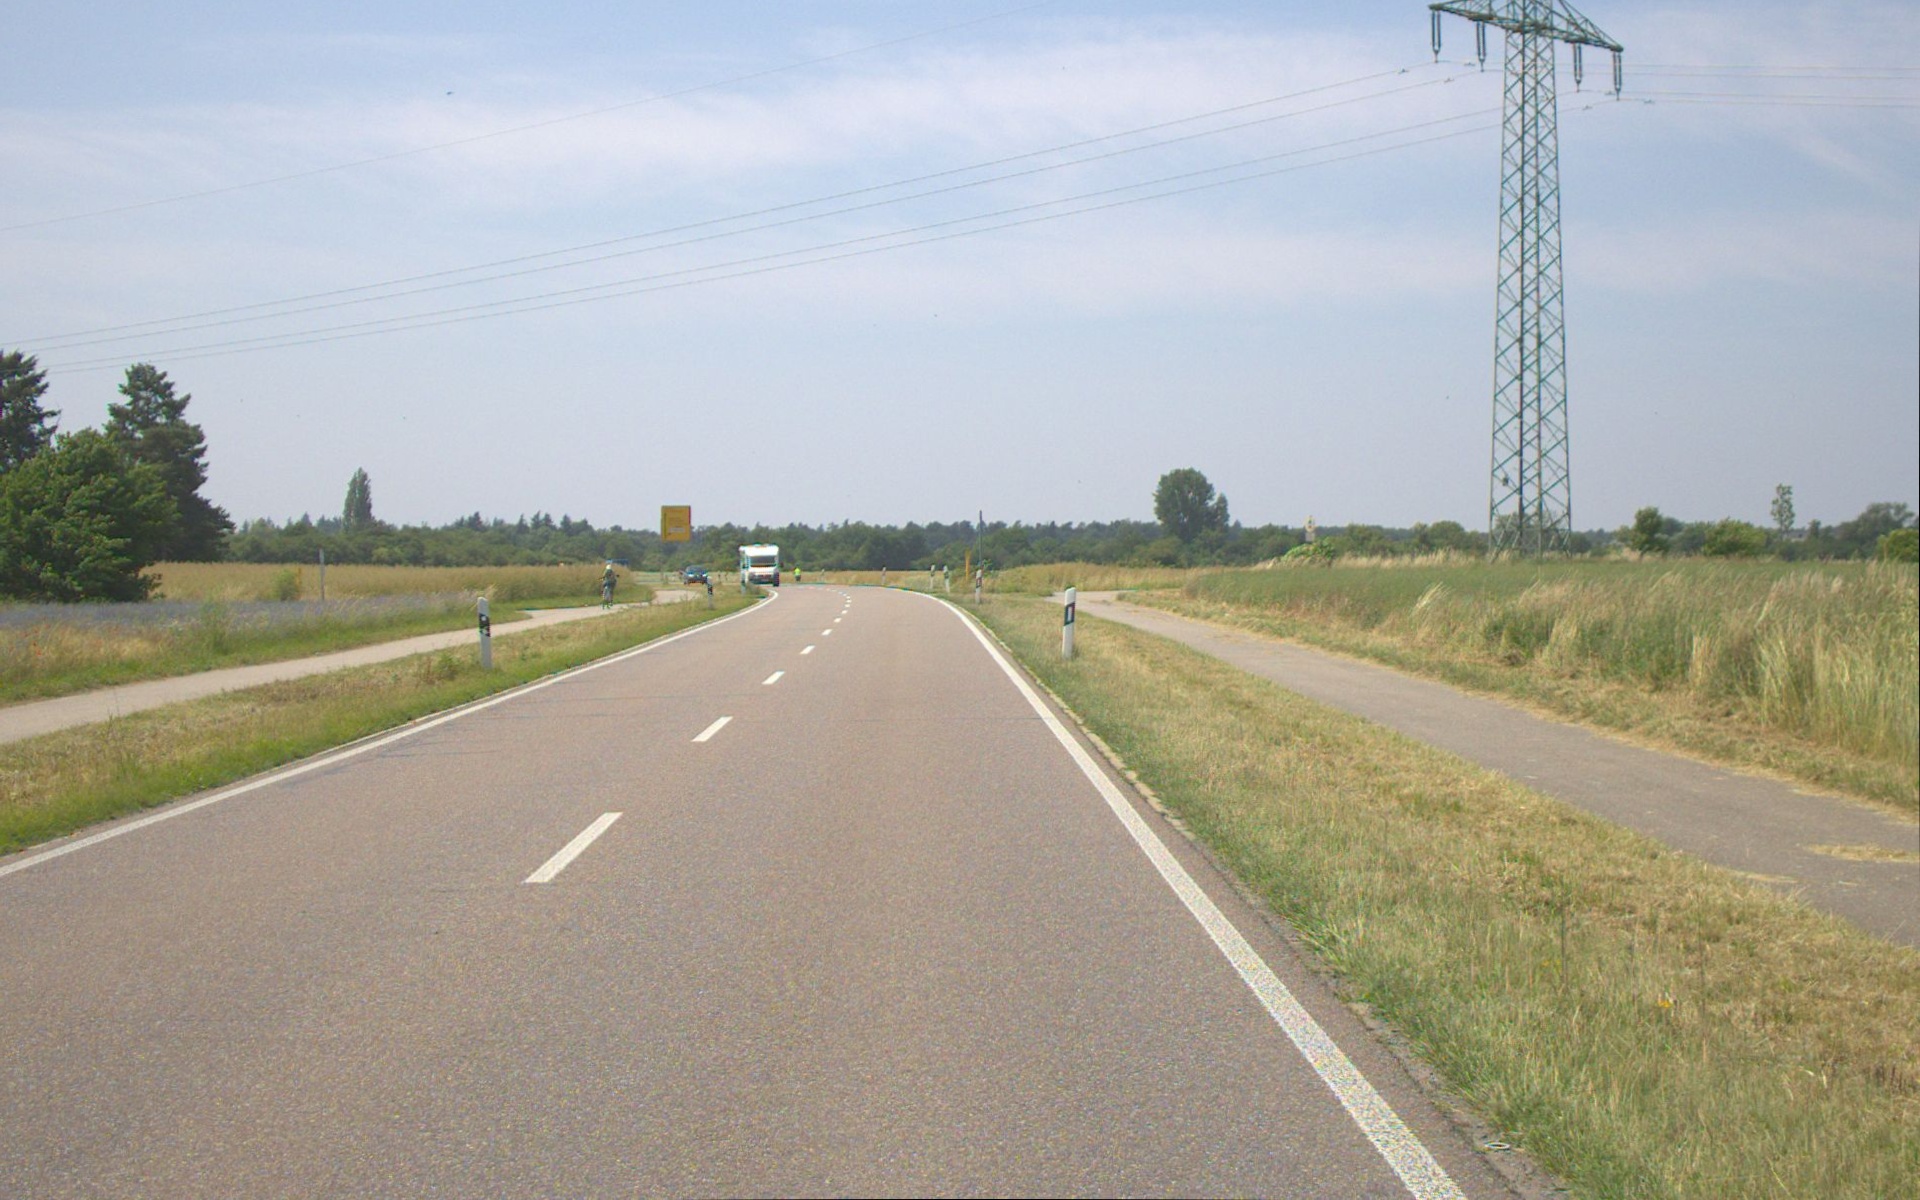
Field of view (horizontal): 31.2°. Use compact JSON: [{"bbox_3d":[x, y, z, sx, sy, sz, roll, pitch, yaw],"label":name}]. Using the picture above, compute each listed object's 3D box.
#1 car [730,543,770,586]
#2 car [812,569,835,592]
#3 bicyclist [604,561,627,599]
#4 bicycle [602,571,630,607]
[{"bbox_3d":[-13.925,-2.349,228.485,2.397,2.837,7.628,0,1,-1],"label":"car"},{"bbox_3d":[-9.600,-1.365,241.347,1.623,1.486,4.001,0,1,-3],"label":"car"},{"bbox_3d":[-12.024,-0.698,119.962,0.701,1.326,0.965,-1,1,-1],"label":"bicyclist"},{"bbox_3d":[-12.015,-0.373,120.034,0.762,1.225,2.216,-1,1,-1],"label":"bicycle"}]
